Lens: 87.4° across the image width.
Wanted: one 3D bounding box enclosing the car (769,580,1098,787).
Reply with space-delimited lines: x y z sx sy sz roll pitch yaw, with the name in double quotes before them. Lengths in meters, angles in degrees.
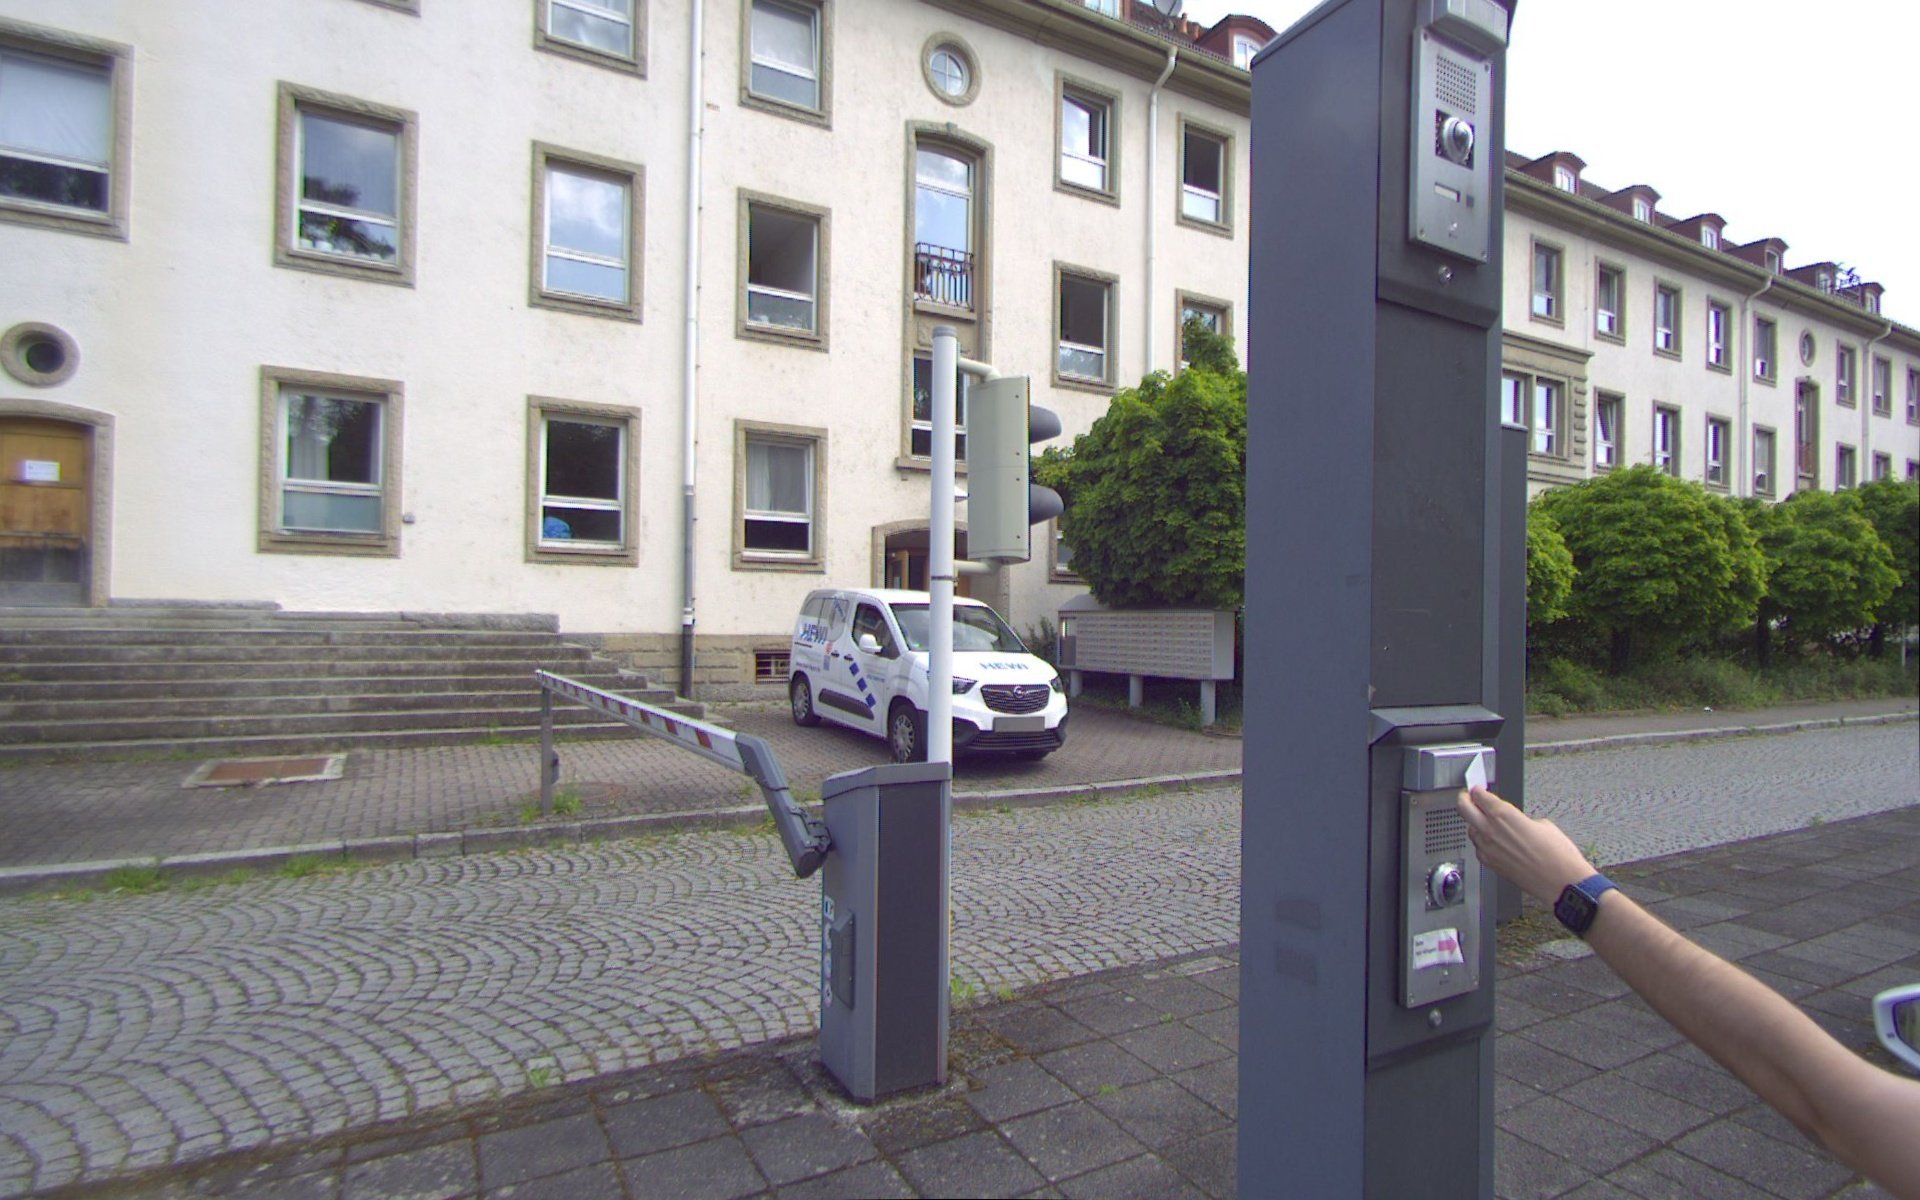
"car" -0.538 0.764 11.759 1.838 1.775 4.411 1 3 -32
